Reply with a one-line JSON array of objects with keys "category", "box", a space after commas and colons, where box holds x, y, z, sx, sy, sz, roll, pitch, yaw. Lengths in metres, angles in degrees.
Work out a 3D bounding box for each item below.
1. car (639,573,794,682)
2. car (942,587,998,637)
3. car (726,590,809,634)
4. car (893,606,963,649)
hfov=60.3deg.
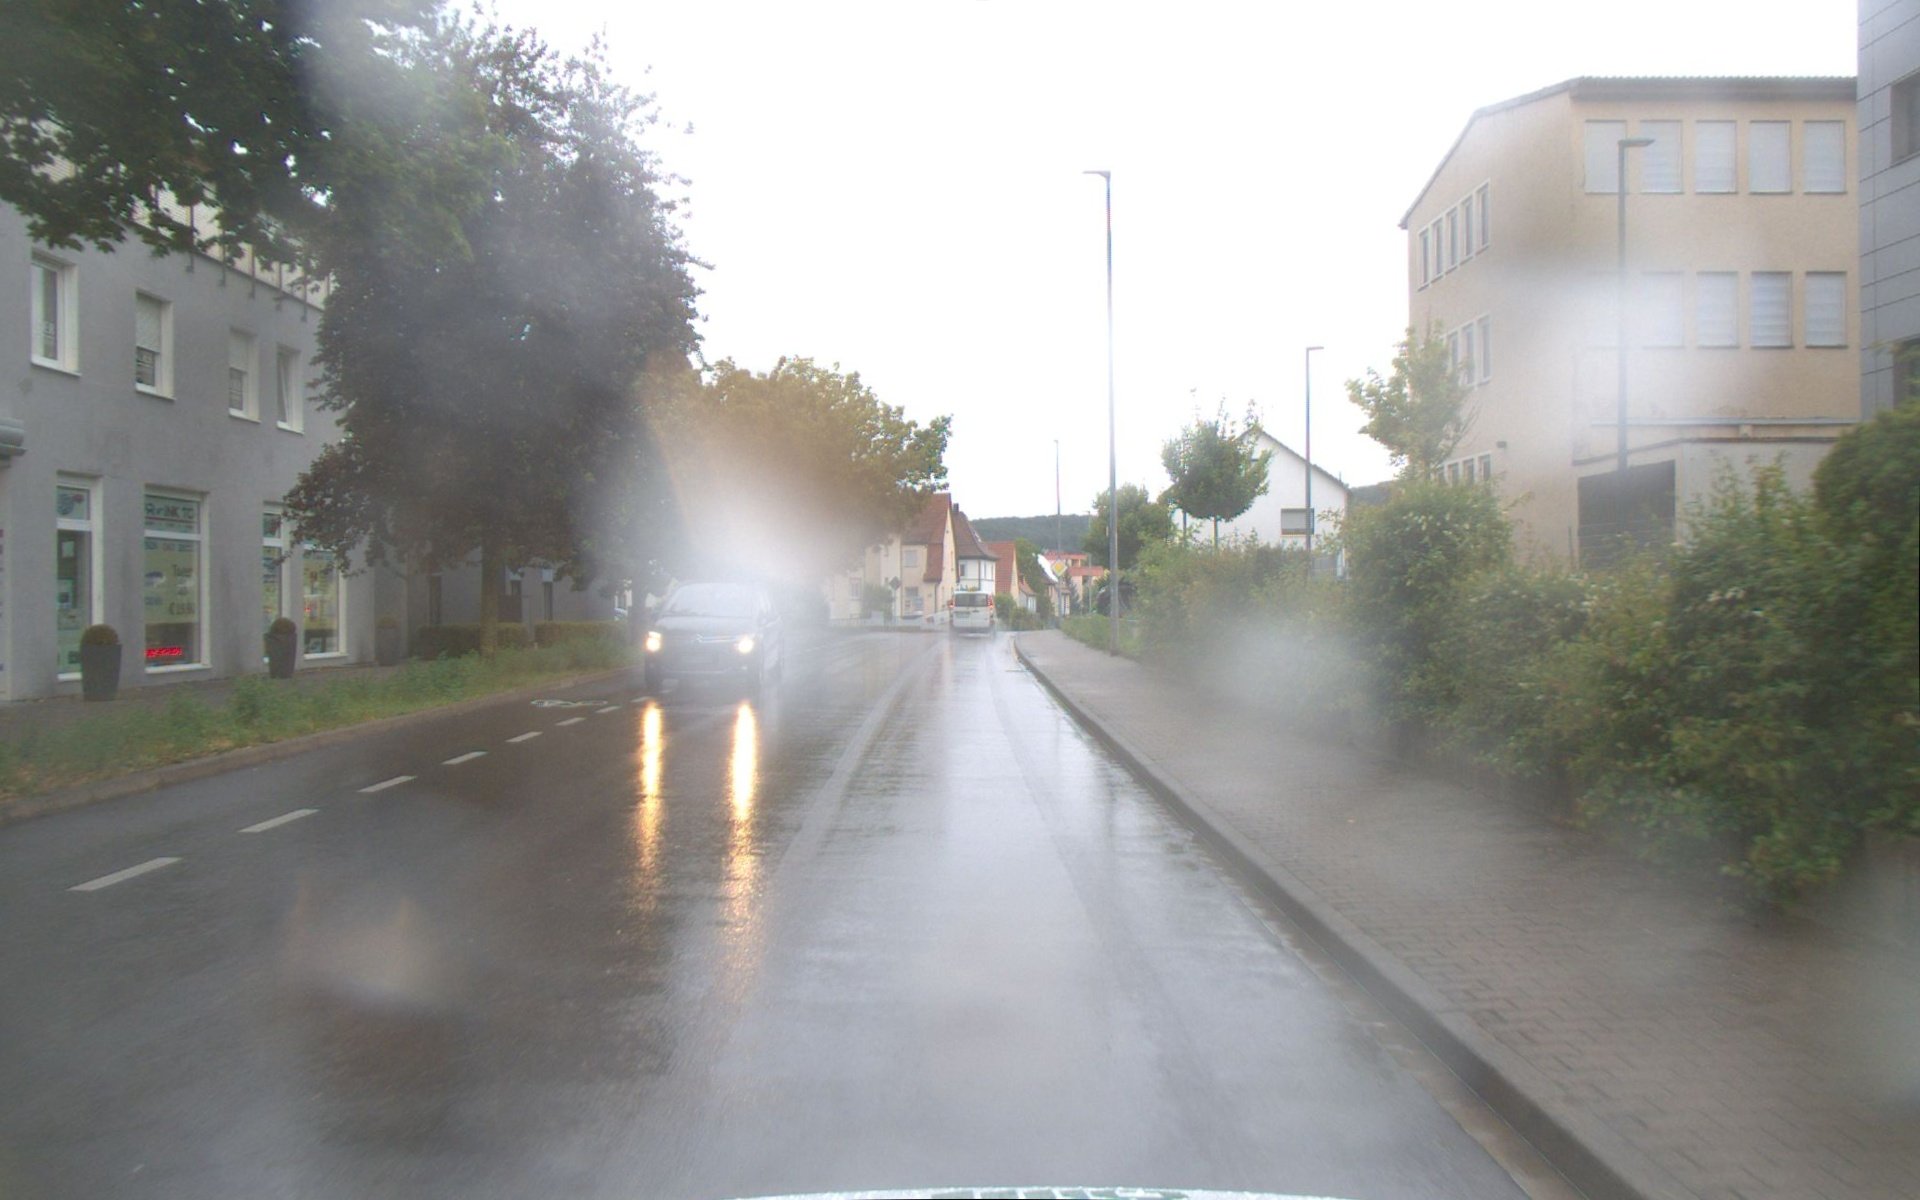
[{"category": "car", "box": [-3.826, 0.365, 26.682, 1.813, 1.582, 4.502, 1, 1, 0]}, {"category": "car", "box": [0.376, 0.448, 67.256, 2.074, 1.921, 4.500, 0, 1, -2]}, {"category": "car", "box": [-7.067, 0.442, 60.875, 2.848, 1.480, 1.253, -2, -3, 1]}, {"category": "car", "box": [-2.263, 1.974, 118.987, 4.466, 2.044, 2.162, -13, -1, 7]}]
